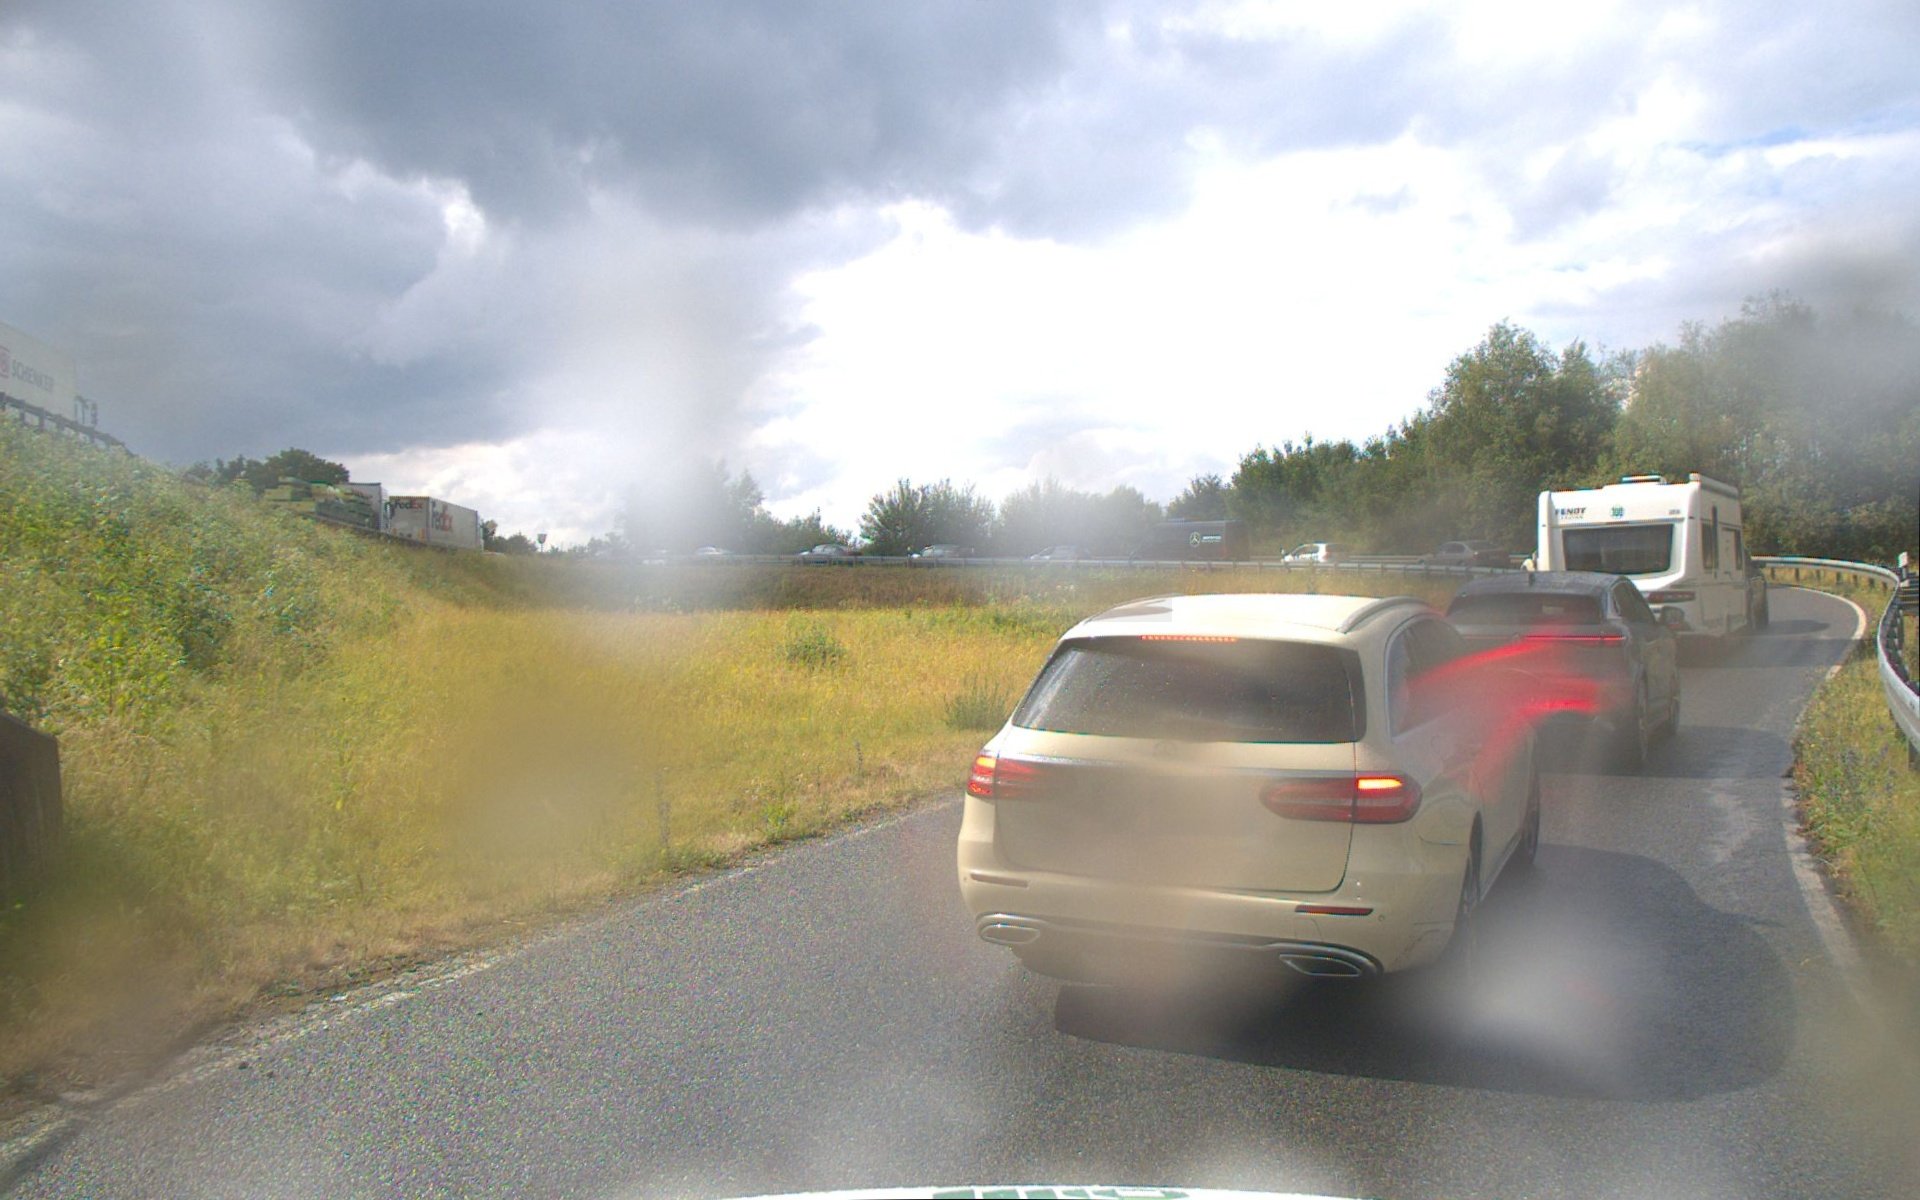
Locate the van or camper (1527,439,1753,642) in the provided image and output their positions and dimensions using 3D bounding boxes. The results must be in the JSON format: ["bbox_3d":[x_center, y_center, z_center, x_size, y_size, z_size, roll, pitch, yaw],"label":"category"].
[{"bbox_3d":[10.742,-0.890,25.813,2.386,2.777,5.988,0,1,31],"label":"van or camper"}]

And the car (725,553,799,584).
[{"bbox_3d":[-12.992,-2.048,108.507,4.402,1.894,2.001,-2,-1,19],"label":"car"}]

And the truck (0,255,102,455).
[{"bbox_3d":[-26.592,-6.570,45.190,3.124,4.036,9.208,0,-2,-12],"label":"truck"}]

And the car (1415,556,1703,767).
[{"bbox_3d":[5.304,0.464,14.321,1.685,1.551,3.993,-2,-1,29],"label":"car"}]

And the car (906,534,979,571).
[{"bbox_3d":[-1.060,-2.844,99.696,3.914,2.049,1.995,1,-3,31],"label":"car"}]

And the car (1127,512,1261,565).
[{"bbox_3d":[12.359,-3.227,87.923,2.851,2.640,6.877,-2,2,-42],"label":"car"}]

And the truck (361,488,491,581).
[{"bbox_3d":[-34.461,-3.989,108.010,4.375,4.582,19.343,0,-2,-7],"label":"truck"}]

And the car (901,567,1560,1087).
[{"bbox_3d":[1.555,0.629,7.406,1.877,1.533,4.595,1,1,23],"label":"car"}]

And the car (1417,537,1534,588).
[{"bbox_3d":[21.408,-1.540,68.875,1.964,1.894,5.027,-1,-1,-20],"label":"car"}]

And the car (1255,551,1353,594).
[{"bbox_3d":[16.838,-1.335,81.172,1.970,1.894,5.012,-1,-1,-27],"label":"car"}]

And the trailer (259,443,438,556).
[{"bbox_3d":[-32.217,-5.049,88.716,4.329,4.025,20.185,0,-2,-7],"label":"trailer"}]

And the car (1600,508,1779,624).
[{"bbox_3d":[13.744,-0.674,30.940,2.383,1.959,5.749,0,2,31],"label":"car"}]

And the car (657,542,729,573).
[{"bbox_3d":[-18.439,-2.897,114.122,4.954,1.894,1.993,-2,-1,35],"label":"car"}]

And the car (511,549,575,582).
[{"bbox_3d":[-27.077,-2.244,107.458,3.917,2.049,1.821,0,-2,-13],"label":"car"}]

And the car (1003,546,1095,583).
[{"bbox_3d":[5.082,-1.996,94.535,4.955,1.894,1.993,-2,-1,36],"label":"car"}]

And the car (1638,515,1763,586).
[{"bbox_3d":[22.010,-1.413,49.390,1.951,1.894,5.061,-2,-1,7],"label":"car"}]

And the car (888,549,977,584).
[{"bbox_3d":[-1.632,-1.995,99.258,4.942,1.894,1.998,-2,-1,27],"label":"car"}]
